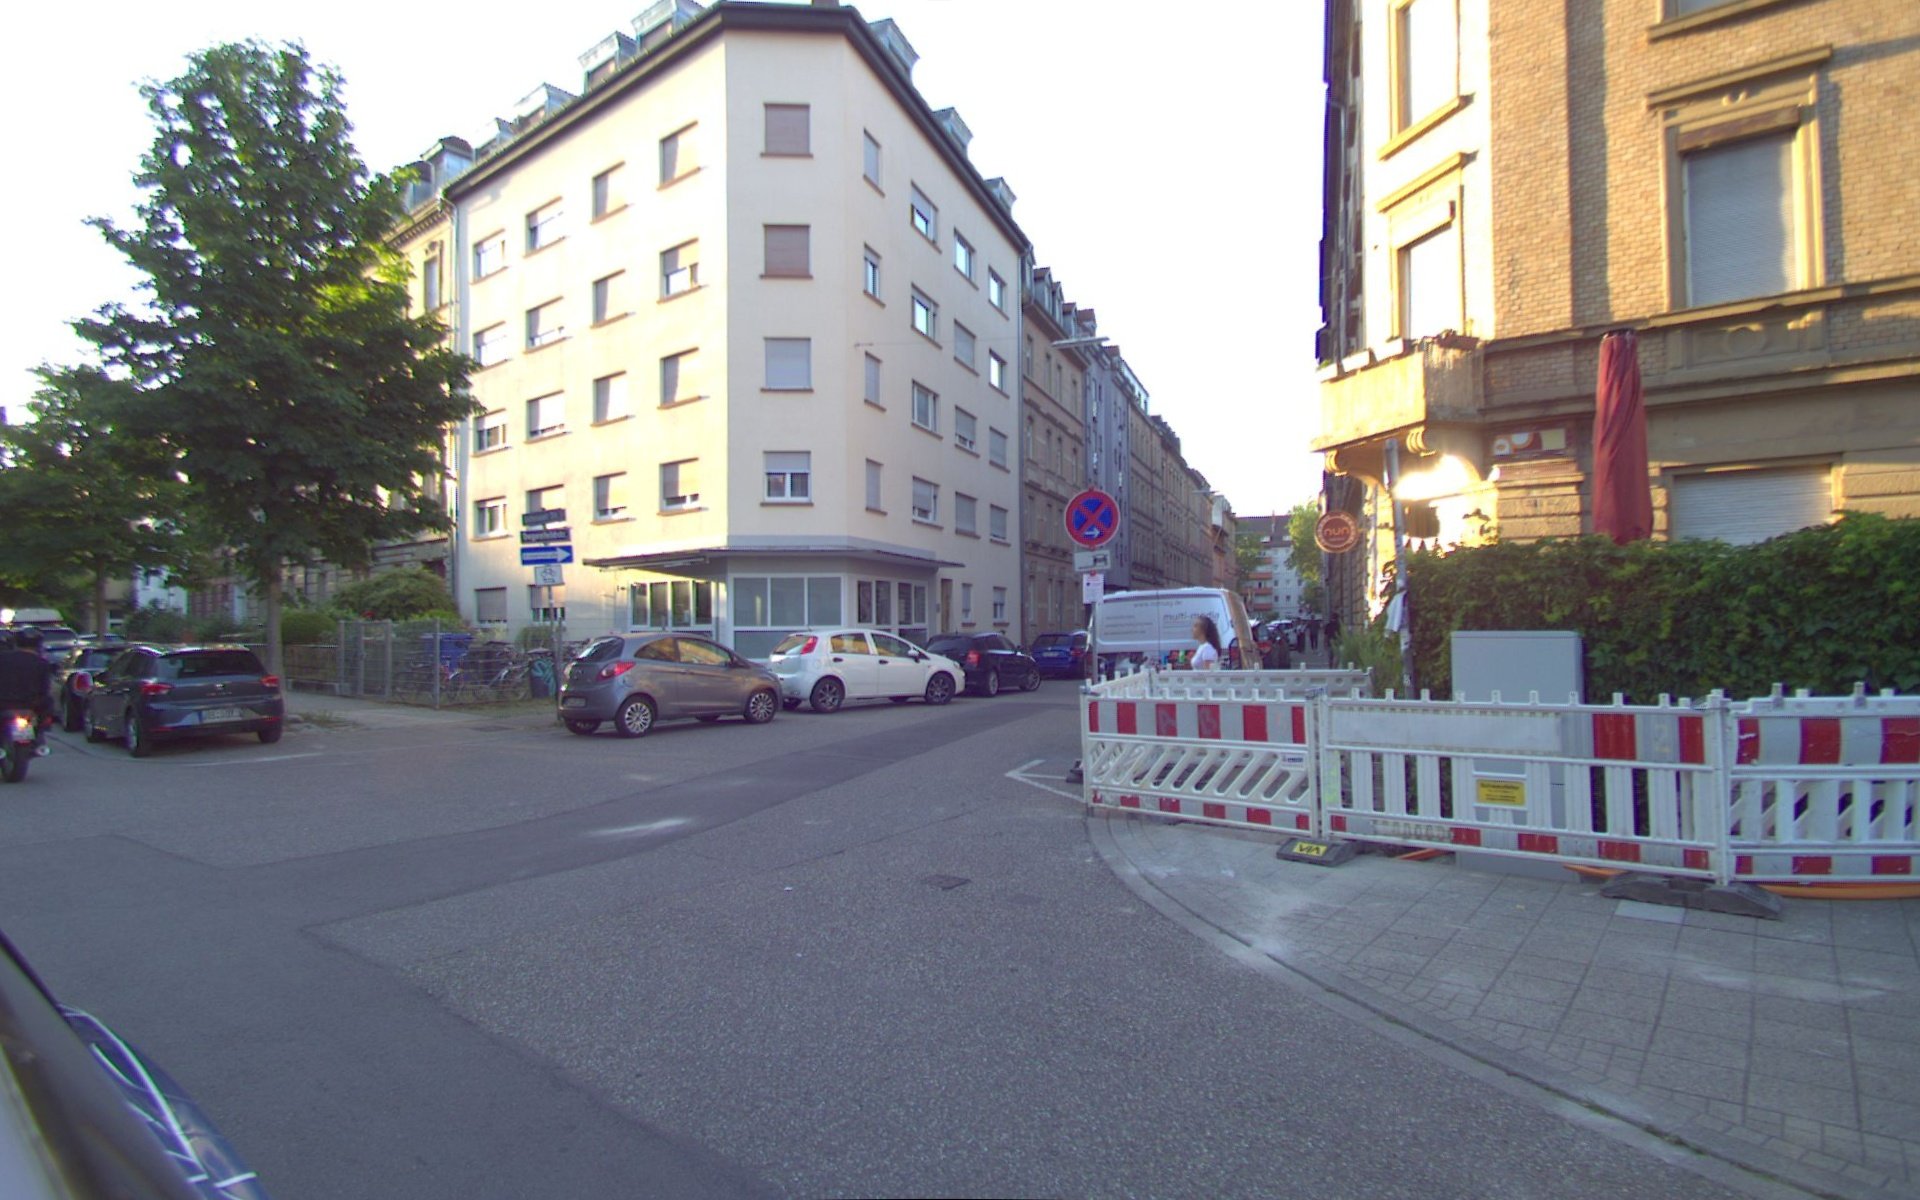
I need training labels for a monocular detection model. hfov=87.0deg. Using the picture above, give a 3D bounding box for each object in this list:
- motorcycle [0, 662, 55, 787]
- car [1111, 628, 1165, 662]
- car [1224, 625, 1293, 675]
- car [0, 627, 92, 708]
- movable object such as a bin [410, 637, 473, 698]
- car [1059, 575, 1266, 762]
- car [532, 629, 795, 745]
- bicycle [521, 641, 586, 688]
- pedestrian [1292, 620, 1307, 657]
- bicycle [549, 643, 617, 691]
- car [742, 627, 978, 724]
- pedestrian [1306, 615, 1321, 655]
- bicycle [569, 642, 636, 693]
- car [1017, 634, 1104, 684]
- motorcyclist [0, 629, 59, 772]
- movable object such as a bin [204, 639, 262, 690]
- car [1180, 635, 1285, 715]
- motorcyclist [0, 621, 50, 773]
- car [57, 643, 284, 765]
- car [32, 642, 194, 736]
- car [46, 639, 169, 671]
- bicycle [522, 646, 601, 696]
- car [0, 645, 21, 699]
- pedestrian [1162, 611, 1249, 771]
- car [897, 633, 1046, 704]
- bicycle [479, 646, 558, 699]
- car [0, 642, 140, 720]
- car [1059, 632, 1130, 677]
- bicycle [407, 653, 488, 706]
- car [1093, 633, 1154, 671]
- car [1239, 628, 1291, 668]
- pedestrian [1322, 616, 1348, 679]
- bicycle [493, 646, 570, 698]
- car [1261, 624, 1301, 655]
[{"bbox_3d":[-10.416,1.292,10.911,0.835,1.218,2.078,4,-4,-39],"label":"motorcycle"},{"bbox_3d":[8.089,2.010,45.747,1.808,1.419,3.976,-2,-2,18],"label":"car"},{"bbox_3d":[9.414,1.544,31.731,1.830,1.438,3.973,-2,-2,20],"label":"car"},{"bbox_3d":[-22.806,1.583,24.607,4.619,1.792,1.843,-2,-1,40],"label":"car"},{"bbox_3d":[-12.295,1.574,23.986,1.398,1.362,0.857,-2,-1,42],"label":"movable object such as a bin"},{"bbox_3d":[2.954,0.829,13.674,2.190,1.990,5.264,-2,-2,17],"label":"car"},{"bbox_3d":[-4.501,1.257,15.679,1.843,1.519,3.471,-3,-2,39],"label":"car"},{"bbox_3d":[-10.489,1.647,26.163,0.499,1.100,1.531,-2,-1,34],"label":"bicycle"},{"bbox_3d":[15.755,1.767,46.945,0.589,1.699,0.495,-2,-1,18],"label":"pedestrian"},{"bbox_3d":[-9.478,1.665,25.495,0.499,1.100,1.617,-2,-1,34],"label":"bicycle"},{"bbox_3d":[-1.856,1.337,19.294,4.007,1.520,1.978,-1,-1,-37],"label":"car"},{"bbox_3d":[16.341,1.607,46.760,0.589,1.821,0.495,-2,-1,18],"label":"pedestrian"},{"bbox_3d":[-8.816,1.642,25.000,0.499,1.150,1.531,-2,-1,34],"label":"bicycle"},{"bbox_3d":[3.161,1.776,31.123,1.859,1.419,3.976,-2,-3,18],"label":"car"},{"bbox_3d":[-10.576,1.083,11.124,0.878,1.516,0.971,4,-4,-40],"label":"motorcyclist"},{"bbox_3d":[-21.041,1.837,29.296,1.549,1.398,0.937,-2,-1,37],"label":"movable object such as a bin"},{"bbox_3d":[6.006,1.588,22.300,2.005,1.583,3.898,-2,-2,16],"label":"car"},{"bbox_3d":[-10.117,1.002,10.586,0.777,1.552,0.546,4,-5,-40],"label":"motorcyclist"},{"bbox_3d":[-11.654,1.400,14.825,4.458,1.473,1.658,-2,-1,39],"label":"car"},{"bbox_3d":[-15.208,1.496,18.090,4.142,1.431,1.723,-2,-2,43],"label":"car"},{"bbox_3d":[-41.111,2.605,48.870,1.625,1.351,4.356,-2,-1,41],"label":"car"},{"bbox_3d":[-9.220,1.641,23.451,1.689,1.100,0.384,-2,-1,4],"label":"bicycle"},{"bbox_3d":[-27.919,2.020,28.434,4.019,1.452,1.711,-2,-1,39],"label":"car"},{"bbox_3d":[2.591,0.943,10.757,0.777,1.630,0.710,-2,-1,9],"label":"pedestrian"},{"bbox_3d":[0.363,1.505,23.082,1.986,1.450,4.046,-2,-2,23],"label":"car"},{"bbox_3d":[-9.819,1.609,22.520,1.528,1.100,0.500,-2,-1,3],"label":"bicycle"},{"bbox_3d":[-19.114,1.633,21.447,4.586,1.423,1.843,-2,-1,40],"label":"car"},{"bbox_3d":[4.823,1.895,35.863,1.773,1.478,3.976,-2,-2,18],"label":"car"},{"bbox_3d":[-10.720,1.641,21.142,1.927,1.033,0.681,-2,-1,35],"label":"bicycle"},{"bbox_3d":[6.635,2.059,40.794,1.808,1.419,3.976,-2,-2,18],"label":"car"},{"bbox_3d":[12.240,1.896,40.436,1.774,1.470,3.973,-2,-2,20],"label":"car"},{"bbox_3d":[10.190,1.283,27.502,0.589,1.699,0.495,-2,-1,18],"label":"pedestrian"},{"bbox_3d":[-9.742,1.636,23.034,1.528,1.100,0.500,-2,-1,3],"label":"bicycle"},{"bbox_3d":[16.989,2.074,53.491,1.875,1.569,3.975,-2,-2,19],"label":"car"}]
